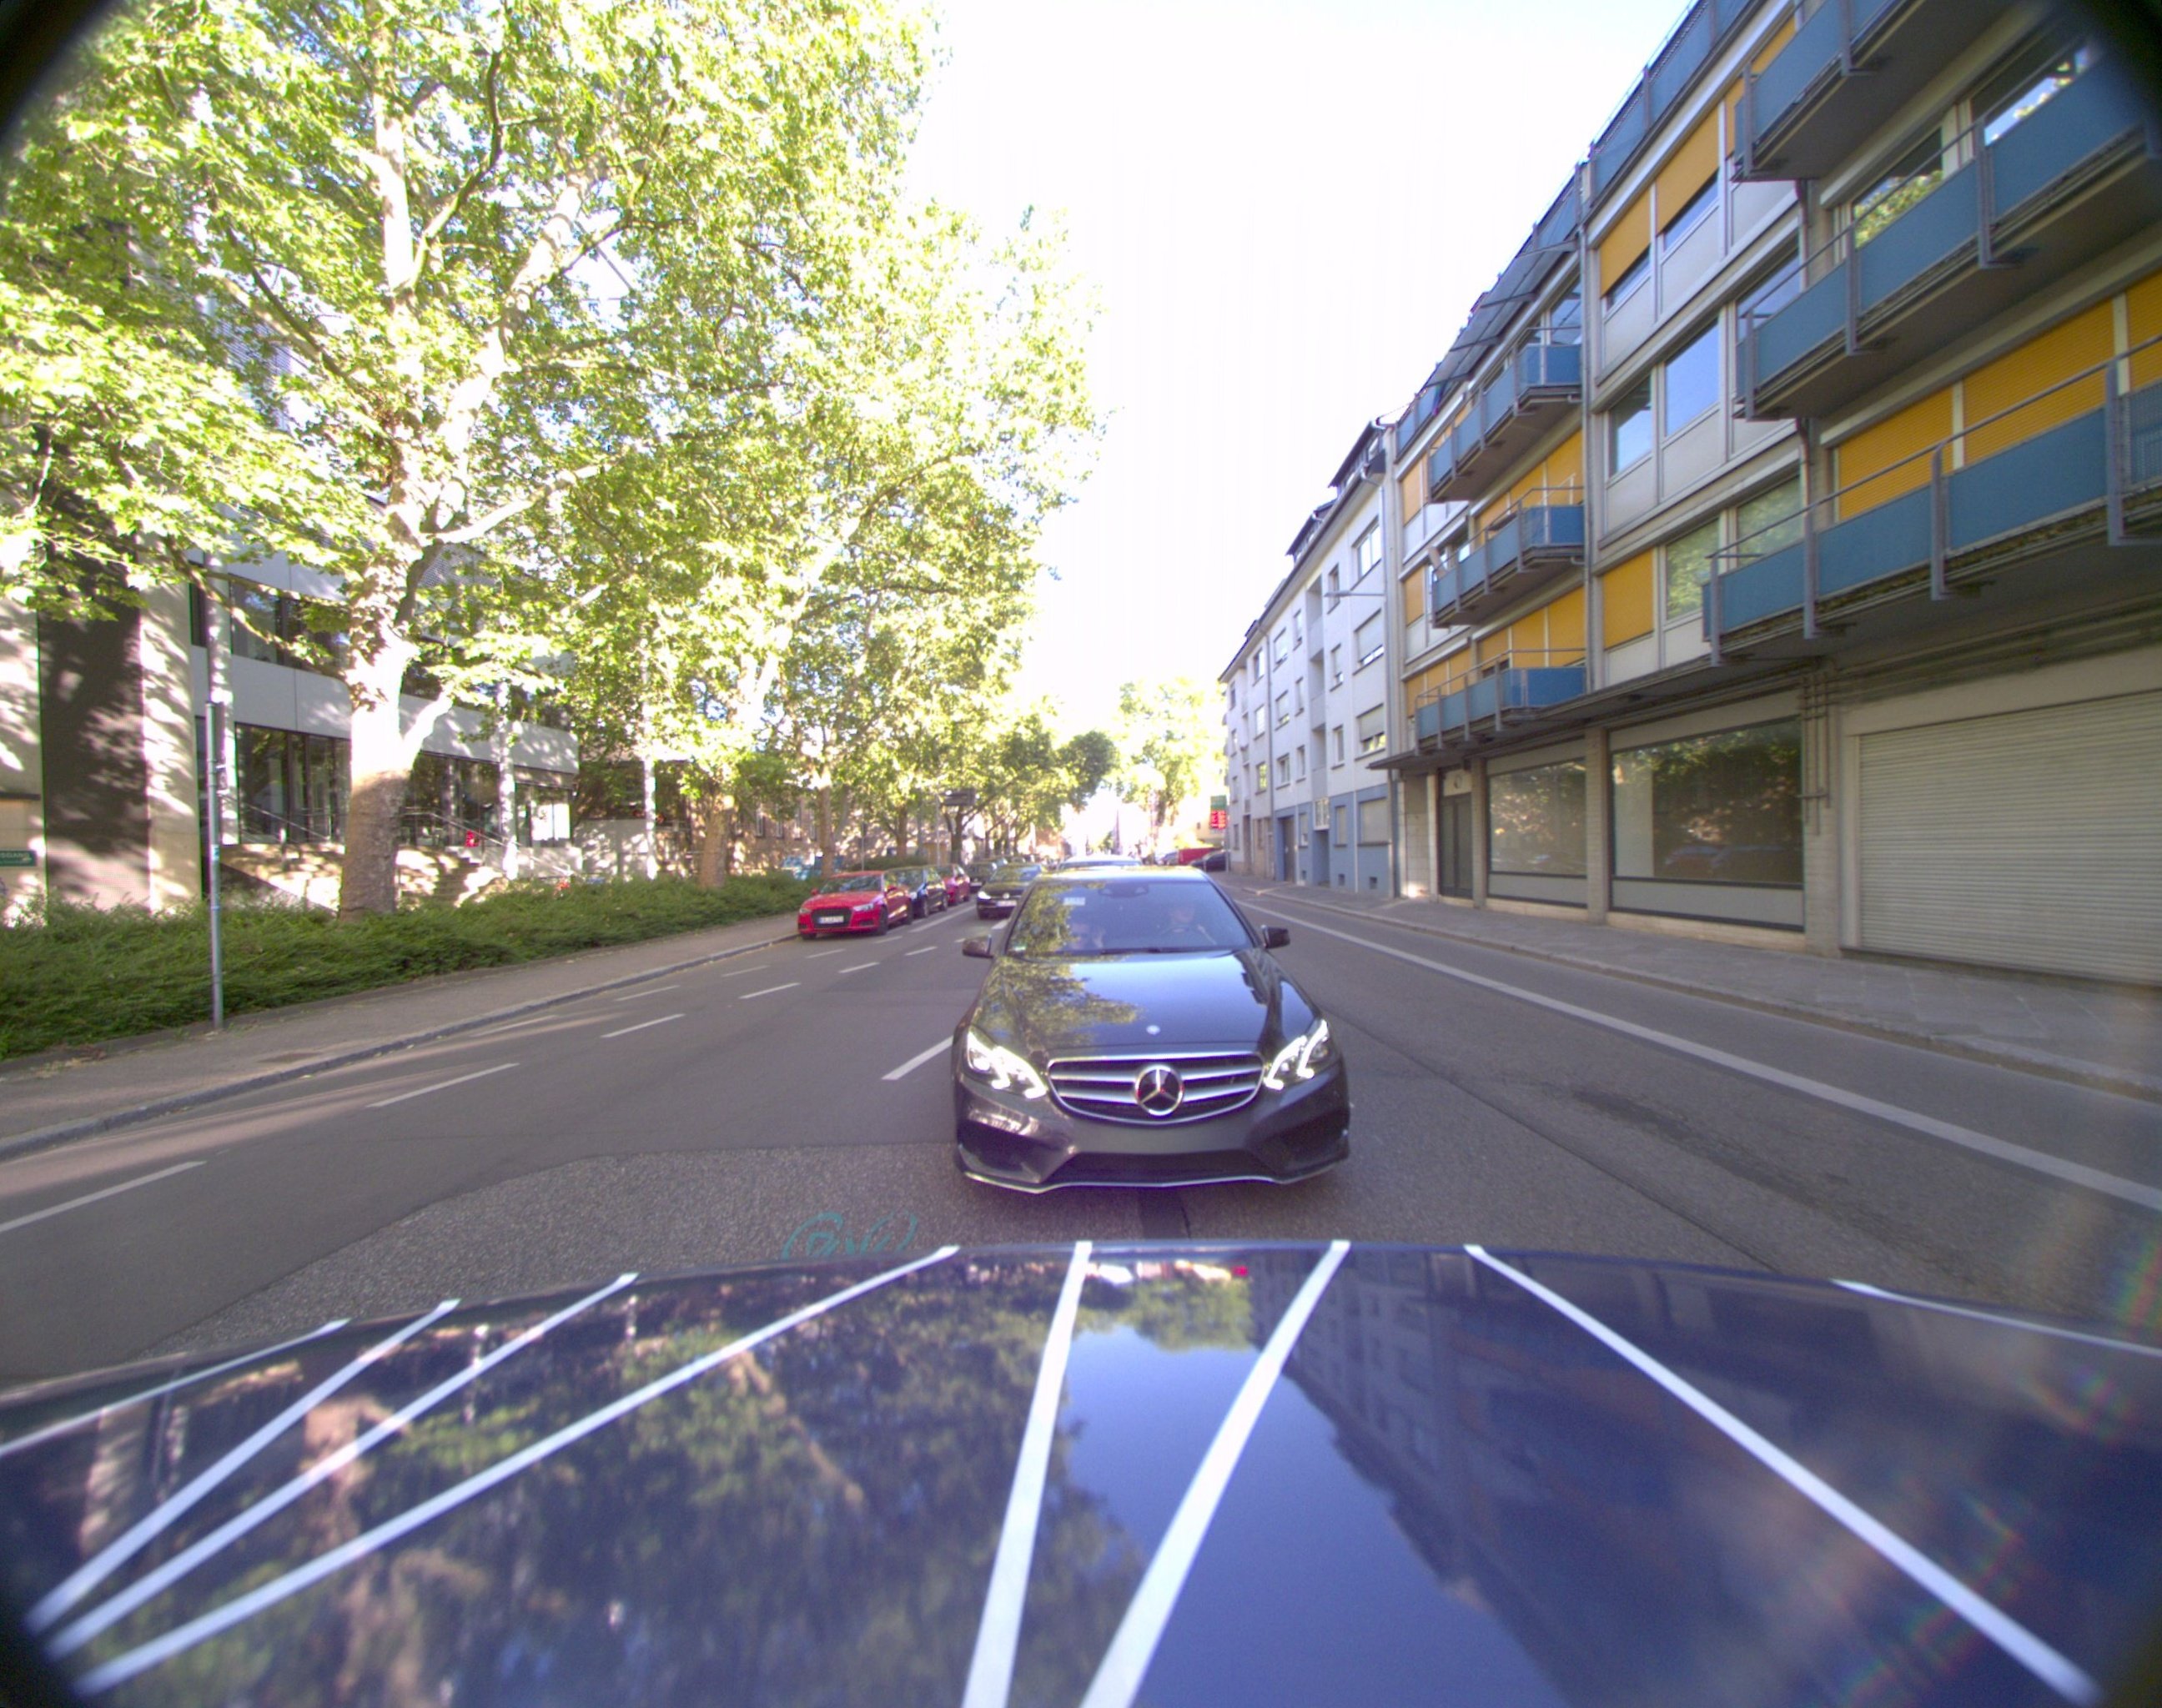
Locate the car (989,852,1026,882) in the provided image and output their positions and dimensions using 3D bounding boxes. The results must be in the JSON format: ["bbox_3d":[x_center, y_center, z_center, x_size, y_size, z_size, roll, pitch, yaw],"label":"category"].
[{"bbox_3d":[-4.594,0.774,48.172,1.819,1.758,4.431,-2,0,0],"label":"car"}]

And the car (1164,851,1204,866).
[{"bbox_3d":[10.405,0.426,76.970,3.905,1.366,1.594,-2,1,2],"label":"car"}]

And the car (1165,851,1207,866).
[{"bbox_3d":[10.374,0.450,74.948,3.905,1.366,1.594,-2,1,2],"label":"car"}]

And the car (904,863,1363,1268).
[{"bbox_3d":[0.212,0.898,5.266,1.828,1.495,4.293,-2,1,0],"label":"car"}]

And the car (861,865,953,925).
[{"bbox_3d":[-5.012,1.132,22.402,1.686,1.458,4.000,-3,0,0],"label":"car"}]

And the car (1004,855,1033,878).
[{"bbox_3d":[-4.425,0.878,54.496,1.686,1.552,3.868,-2,0,0],"label":"car"}]

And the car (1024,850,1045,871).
[{"bbox_3d":[-4.251,0.592,70.210,1.646,1.839,3.836,-2,0,0],"label":"car"}]

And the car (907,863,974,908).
[{"bbox_3d":[-5.009,1.097,27.587,1.666,1.426,3.781,-2,0,0],"label":"car"}]

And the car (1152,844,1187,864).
[{"bbox_3d":[10.402,0.022,89.291,3.905,2.164,1.725,-2,1,2],"label":"car"}]

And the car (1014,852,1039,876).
[{"bbox_3d":[-4.216,0.755,59.352,1.663,1.704,3.836,-2,0,0],"label":"car"}]

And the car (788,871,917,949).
[{"bbox_3d":[-5.131,1.192,17.643,1.724,1.412,4.030,-4,0,-1],"label":"car"}]

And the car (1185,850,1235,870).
[{"bbox_3d":[9.960,0.456,58.713,3.598,1.401,1.534,-2,0,2],"label":"car"}]

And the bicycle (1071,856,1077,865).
[{"bbox_3d":[-0.884,0.813,95.946,0.667,1.093,1.814,-2,1,0],"label":"bicycle"}]

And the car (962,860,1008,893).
[{"bbox_3d":[-4.665,1.050,37.387,1.686,1.443,4.000,-2,0,0],"label":"car"}]

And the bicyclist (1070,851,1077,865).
[{"bbox_3d":[-0.948,0.485,95.891,0.756,1.714,0.768,-2,1,-1],"label":"bicyclist"}]

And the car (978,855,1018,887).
[{"bbox_3d":[-4.537,0.910,42.046,1.686,1.610,3.836,-2,0,0],"label":"car"}]

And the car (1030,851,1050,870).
[{"bbox_3d":[-4.097,0.638,76.001,1.686,1.749,3.836,-2,0,0],"label":"car"}]

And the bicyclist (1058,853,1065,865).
[{"bbox_3d":[-2.403,0.620,94.277,0.756,1.512,0.768,-2,1,-1],"label":"bicyclist"}]

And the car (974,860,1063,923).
[{"bbox_3d":[-1.610,0.960,21.006,1.693,1.432,3.903,-3,0,6],"label":"car"}]

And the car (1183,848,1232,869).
[{"bbox_3d":[10.129,0.355,61.118,3.668,1.501,1.602,-2,1,2],"label":"car"}]

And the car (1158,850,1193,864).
[{"bbox_3d":[10.542,0.330,84.798,3.782,1.432,1.539,-2,1,2],"label":"car"}]

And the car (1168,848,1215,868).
[{"bbox_3d":[9.716,0.329,66.757,3.905,1.577,1.603,-2,1,2],"label":"car"}]

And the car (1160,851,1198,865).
[{"bbox_3d":[10.531,0.398,82.113,3.905,1.325,1.525,-2,1,2],"label":"car"}]

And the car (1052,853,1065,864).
[{"bbox_3d":[-3.126,0.651,106.811,1.686,1.475,3.836,-2,0,0],"label":"car"}]

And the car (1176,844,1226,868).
[{"bbox_3d":[10.075,0.164,63.962,3.905,1.895,1.749,-2,1,2],"label":"car"}]

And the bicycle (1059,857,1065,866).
[{"bbox_3d":[-2.374,0.910,94.244,0.667,1.093,1.814,-2,1,0],"label":"bicycle"}]

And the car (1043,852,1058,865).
[{"bbox_3d":[-3.789,0.599,95.669,1.686,1.546,3.836,-2,0,0],"label":"car"}]

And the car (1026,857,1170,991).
[{"bbox_3d":[0.205,0.882,11.641,1.732,1.538,4.293,-2,1,0],"label":"car"}]

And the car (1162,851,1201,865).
[{"bbox_3d":[10.521,0.425,79.725,3.905,1.325,1.525,-2,1,2],"label":"car"}]

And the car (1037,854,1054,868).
[{"bbox_3d":[-4.050,0.747,87.046,1.639,1.493,3.752,-2,0,0],"label":"car"}]
